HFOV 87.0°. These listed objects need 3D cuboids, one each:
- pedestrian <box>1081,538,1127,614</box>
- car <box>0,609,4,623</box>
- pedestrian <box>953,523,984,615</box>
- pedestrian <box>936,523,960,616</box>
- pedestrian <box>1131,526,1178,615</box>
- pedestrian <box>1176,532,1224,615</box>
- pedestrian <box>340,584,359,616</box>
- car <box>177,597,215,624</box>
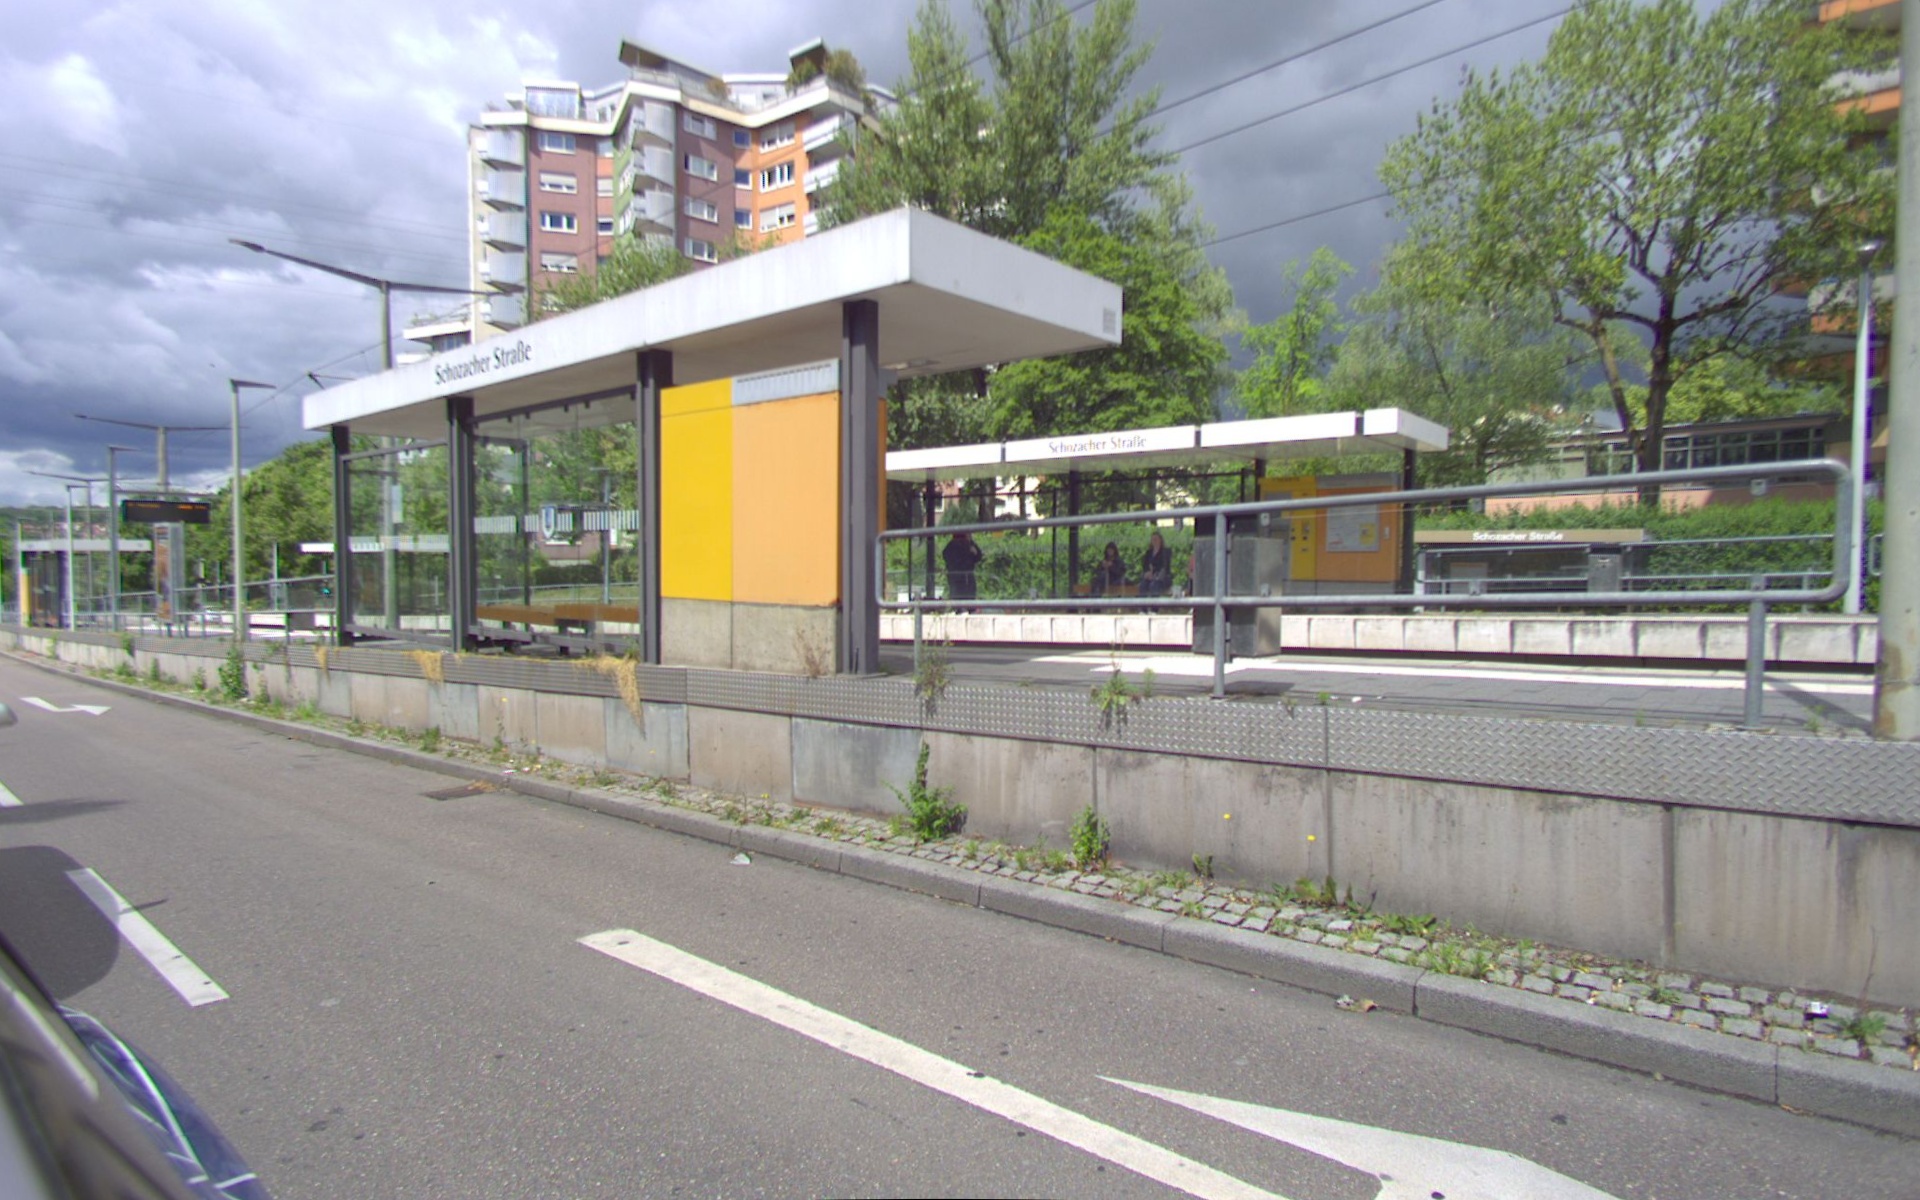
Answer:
[{"bbox_3d":[2.491,-0.402,17.496,0.463,1.287,0.704,-1,0,40],"label":"pedestrian"},{"bbox_3d":[-125.886,2.071,131.893,1.776,1.720,4.005,-1,1,-42],"label":"car"},{"bbox_3d":[0.155,-0.581,19.194,0.544,1.726,0.386,-1,0,-2],"label":"pedestrian"},{"bbox_3d":[-0.234,-0.574,19.169,0.421,1.726,0.353,-1,0,-1],"label":"pedestrian"},{"bbox_3d":[3.206,-0.481,16.696,0.463,1.428,0.704,-1,0,40],"label":"pedestrian"},{"bbox_3d":[3.830,-0.419,16.142,0.463,1.287,0.704,-1,0,40],"label":"pedestrian"},{"bbox_3d":[-25.196,0.006,41.788,0.562,1.287,0.529,-1,0,44],"label":"pedestrian"},{"bbox_3d":[-60.448,0.826,80.017,4.000,2.029,1.714,-1,0,43],"label":"car"}]
